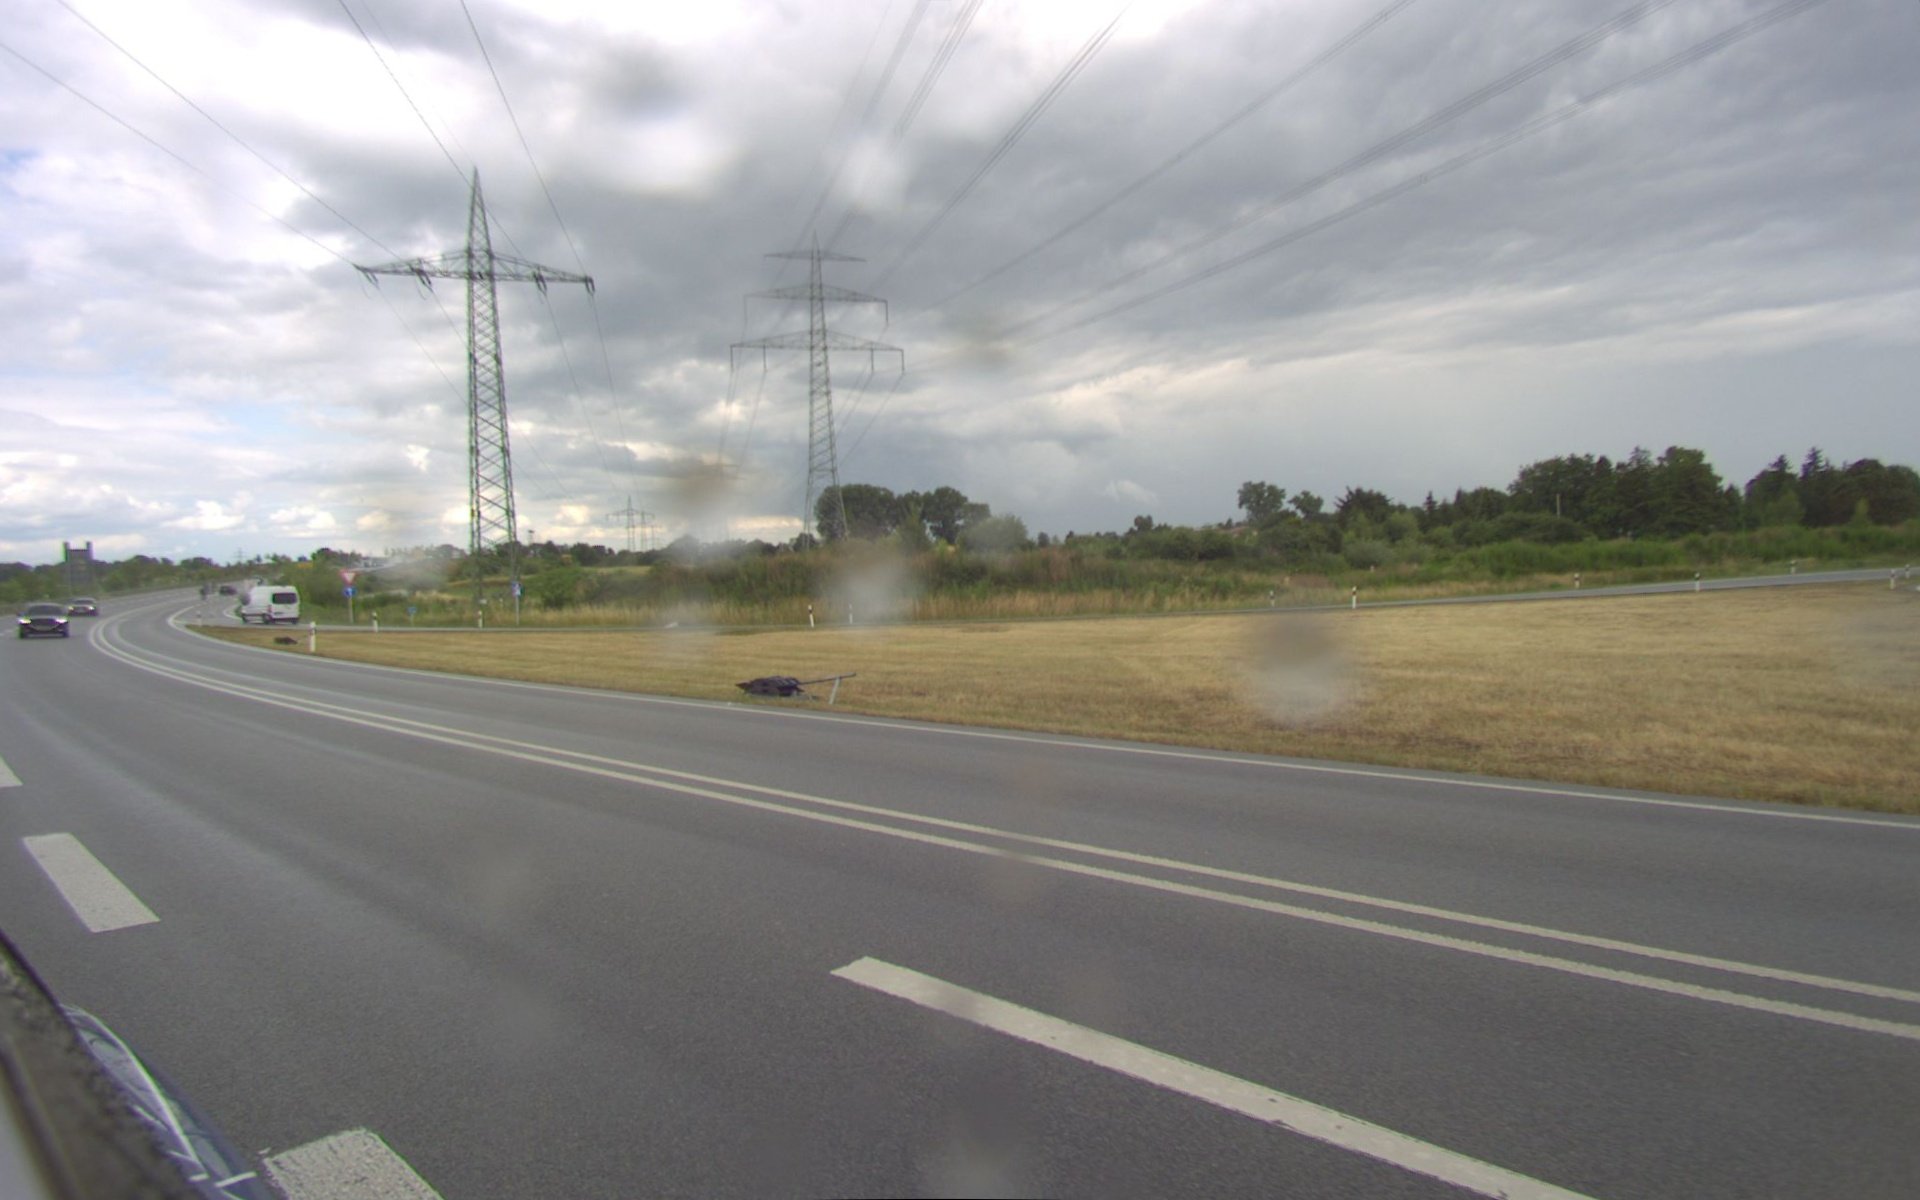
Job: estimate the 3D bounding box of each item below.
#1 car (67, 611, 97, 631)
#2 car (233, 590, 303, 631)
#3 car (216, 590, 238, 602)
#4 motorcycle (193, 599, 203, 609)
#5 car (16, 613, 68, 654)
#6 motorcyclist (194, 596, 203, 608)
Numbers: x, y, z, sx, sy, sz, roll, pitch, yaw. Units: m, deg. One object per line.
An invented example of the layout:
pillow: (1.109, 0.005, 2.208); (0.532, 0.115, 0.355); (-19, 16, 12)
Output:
car: (-73.366, 1.738, 84.543); (1.723, 1.508, 4.054); (-2, 2, -43)
car: (-48.711, 0.670, 71.183); (6.009, 2.770, 2.188); (0, 1, 36)
car: (-107.317, -0.582, 148.221); (1.774, 1.606, 4.239); (-1, 0, -23)
motorcycle: (-97.974, 0.505, 130.188); (0.791, 1.247, 2.192); (-1, 0, -31)
car: (-44.996, 1.603, 49.614); (1.770, 1.782, 4.004); (-2, 2, -43)
motorcyclist: (-97.927, 0.234, 130.093); (0.791, 1.546, 0.827); (-1, 0, -31)
